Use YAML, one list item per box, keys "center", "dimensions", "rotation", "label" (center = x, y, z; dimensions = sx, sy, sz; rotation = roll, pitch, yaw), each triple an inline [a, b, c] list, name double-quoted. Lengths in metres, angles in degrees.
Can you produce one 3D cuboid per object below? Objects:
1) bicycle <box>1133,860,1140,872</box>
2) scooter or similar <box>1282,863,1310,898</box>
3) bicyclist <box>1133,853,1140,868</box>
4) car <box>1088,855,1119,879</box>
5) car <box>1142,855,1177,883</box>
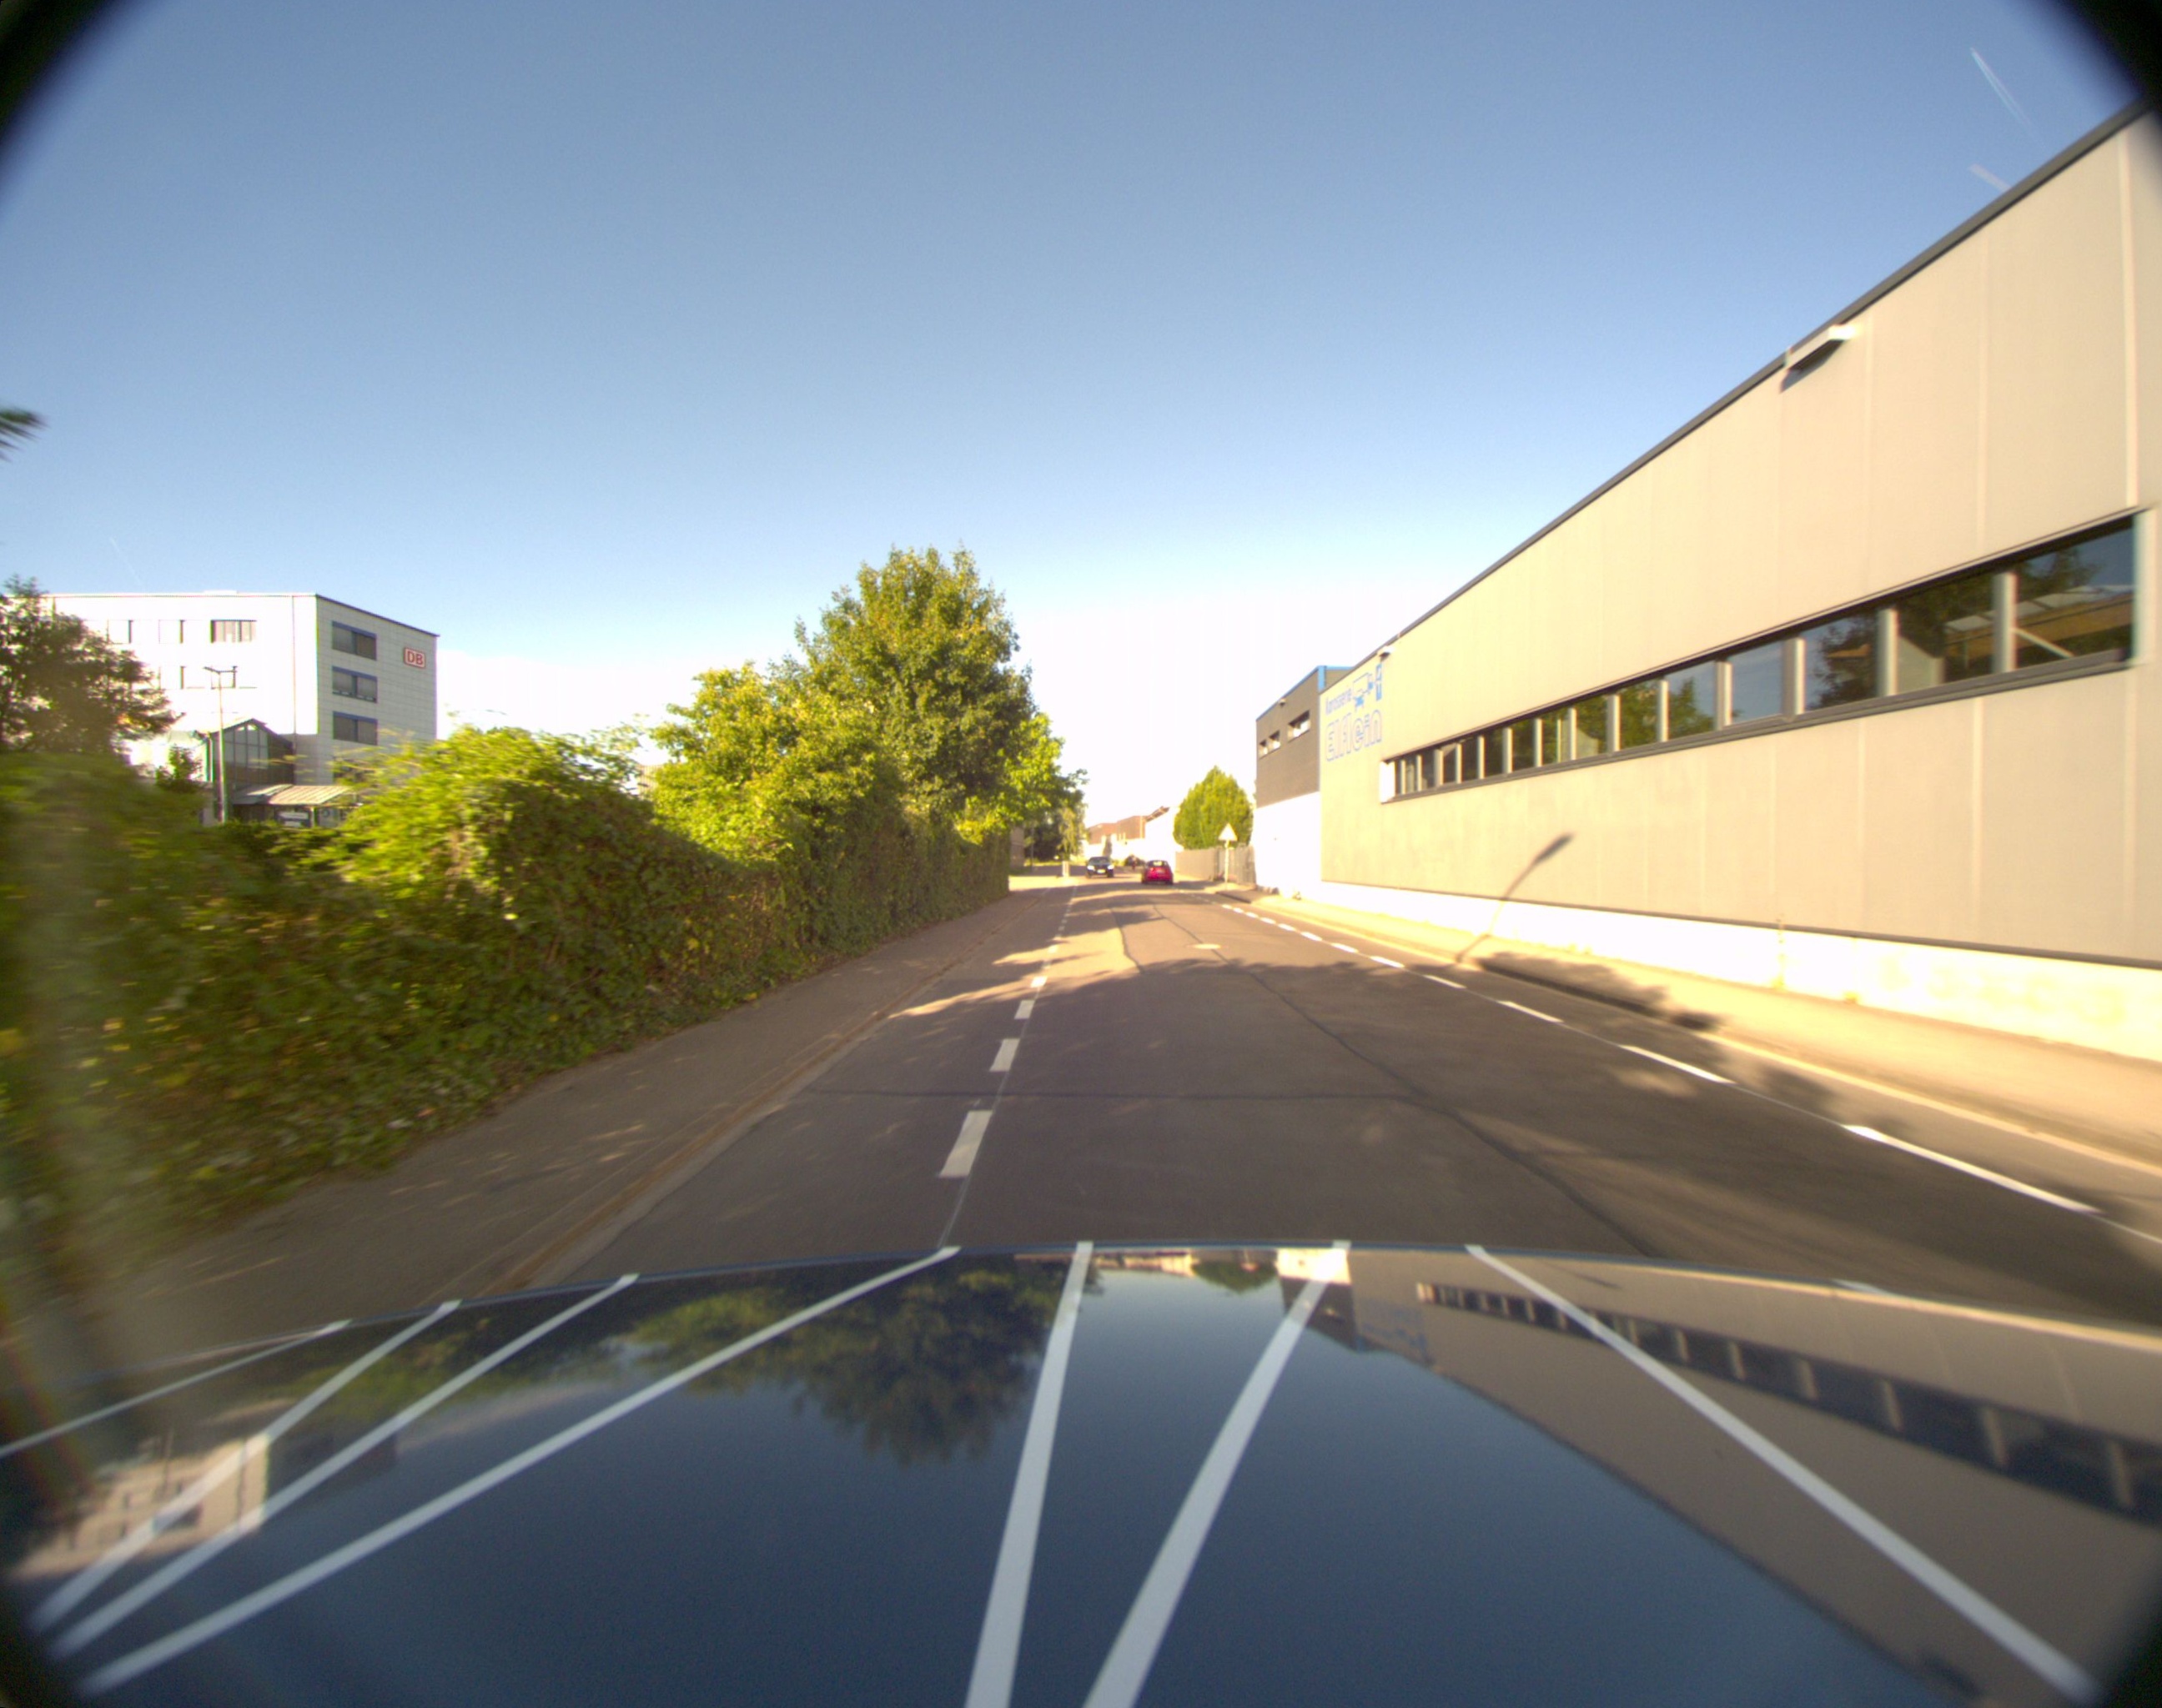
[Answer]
- center: [6.252, 1.322, 85.649]
  dimensions: [0.669, 1.281, 2.172]
  rotation: [0, 1, -1]
  label: "bicycle"
- center: [8.014, 0.966, 28.367]
  dimensions: [0.508, 1.196, 1.753]
  rotation: [-4, 1, 1]
  label: "scooter or similar"
- center: [6.235, 0.704, 85.636]
  dimensions: [0.748, 1.619, 0.833]
  rotation: [0, 1, -1]
  label: "bicyclist"
- center: [1.669, 0.944, 57.529]
  dimensions: [2.037, 1.624, 4.611]
  rotation: [-1, 1, -2]
  label: "car"
- center: [4.725, 0.890, 46.332]
  dimensions: [1.724, 1.530, 4.076]
  rotation: [2, 0, 1]
  label: "car"
